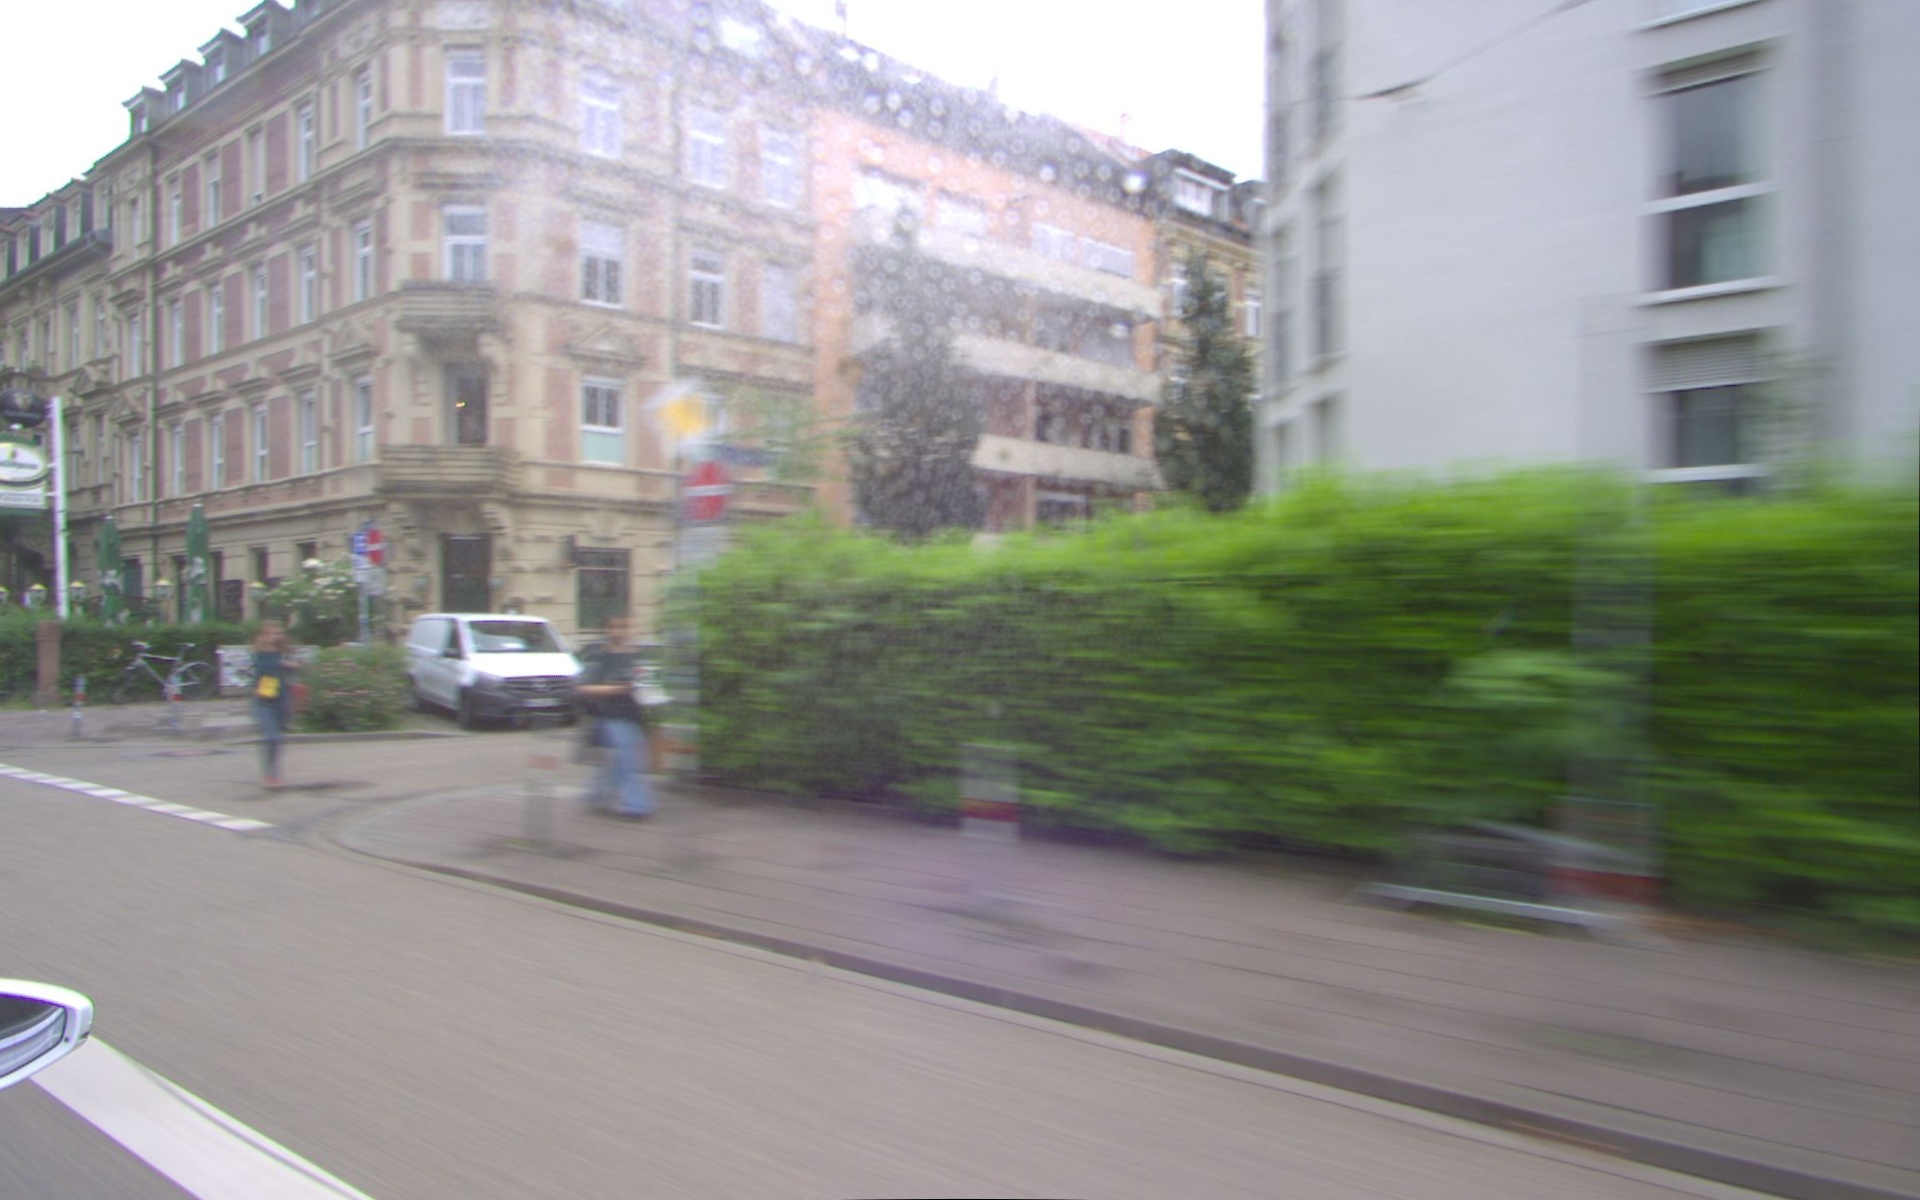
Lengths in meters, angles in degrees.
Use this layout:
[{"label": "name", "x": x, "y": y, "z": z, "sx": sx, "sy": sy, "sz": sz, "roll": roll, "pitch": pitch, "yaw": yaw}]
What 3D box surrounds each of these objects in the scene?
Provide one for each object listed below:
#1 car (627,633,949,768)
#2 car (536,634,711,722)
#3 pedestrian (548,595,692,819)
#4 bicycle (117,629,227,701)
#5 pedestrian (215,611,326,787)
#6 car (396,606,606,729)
[{"label": "car", "x": -2.155, "y": 1.177, "z": 12.925, "sx": 3.773, "sy": 1.449, "sz": 1.660, "roll": 1, "pitch": -1, "yaw": -35}, {"label": "car", "x": -6.551, "y": 1.410, "z": 19.255, "sx": 1.684, "sy": 1.384, "sz": 3.960, "roll": 1, "pitch": 0, "yaw": -44}, {"label": "pedestrian", "x": -2.726, "y": 0.817, "z": 8.000, "sx": 0.787, "sy": 1.656, "sz": 0.829, "roll": -1, "pitch": -2, "yaw": -41}, {"label": "bicycle", "x": -14.984, "y": 1.209, "z": 19.067, "sx": 0.507, "sy": 1.294, "sz": 1.595, "roll": 0, "pitch": -1, "yaw": 43}, {"label": "pedestrian", "x": -7.016, "y": 0.962, "z": 10.188, "sx": 0.865, "sy": 1.677, "sz": 0.901, "roll": 1, "pitch": -1, "yaw": -38}, {"label": "car", "x": -8.356, "y": 1.104, "z": 17.967, "sx": 2.038, "sy": 1.902, "sz": 4.984, "roll": 1, "pitch": -2, "yaw": -42}]
